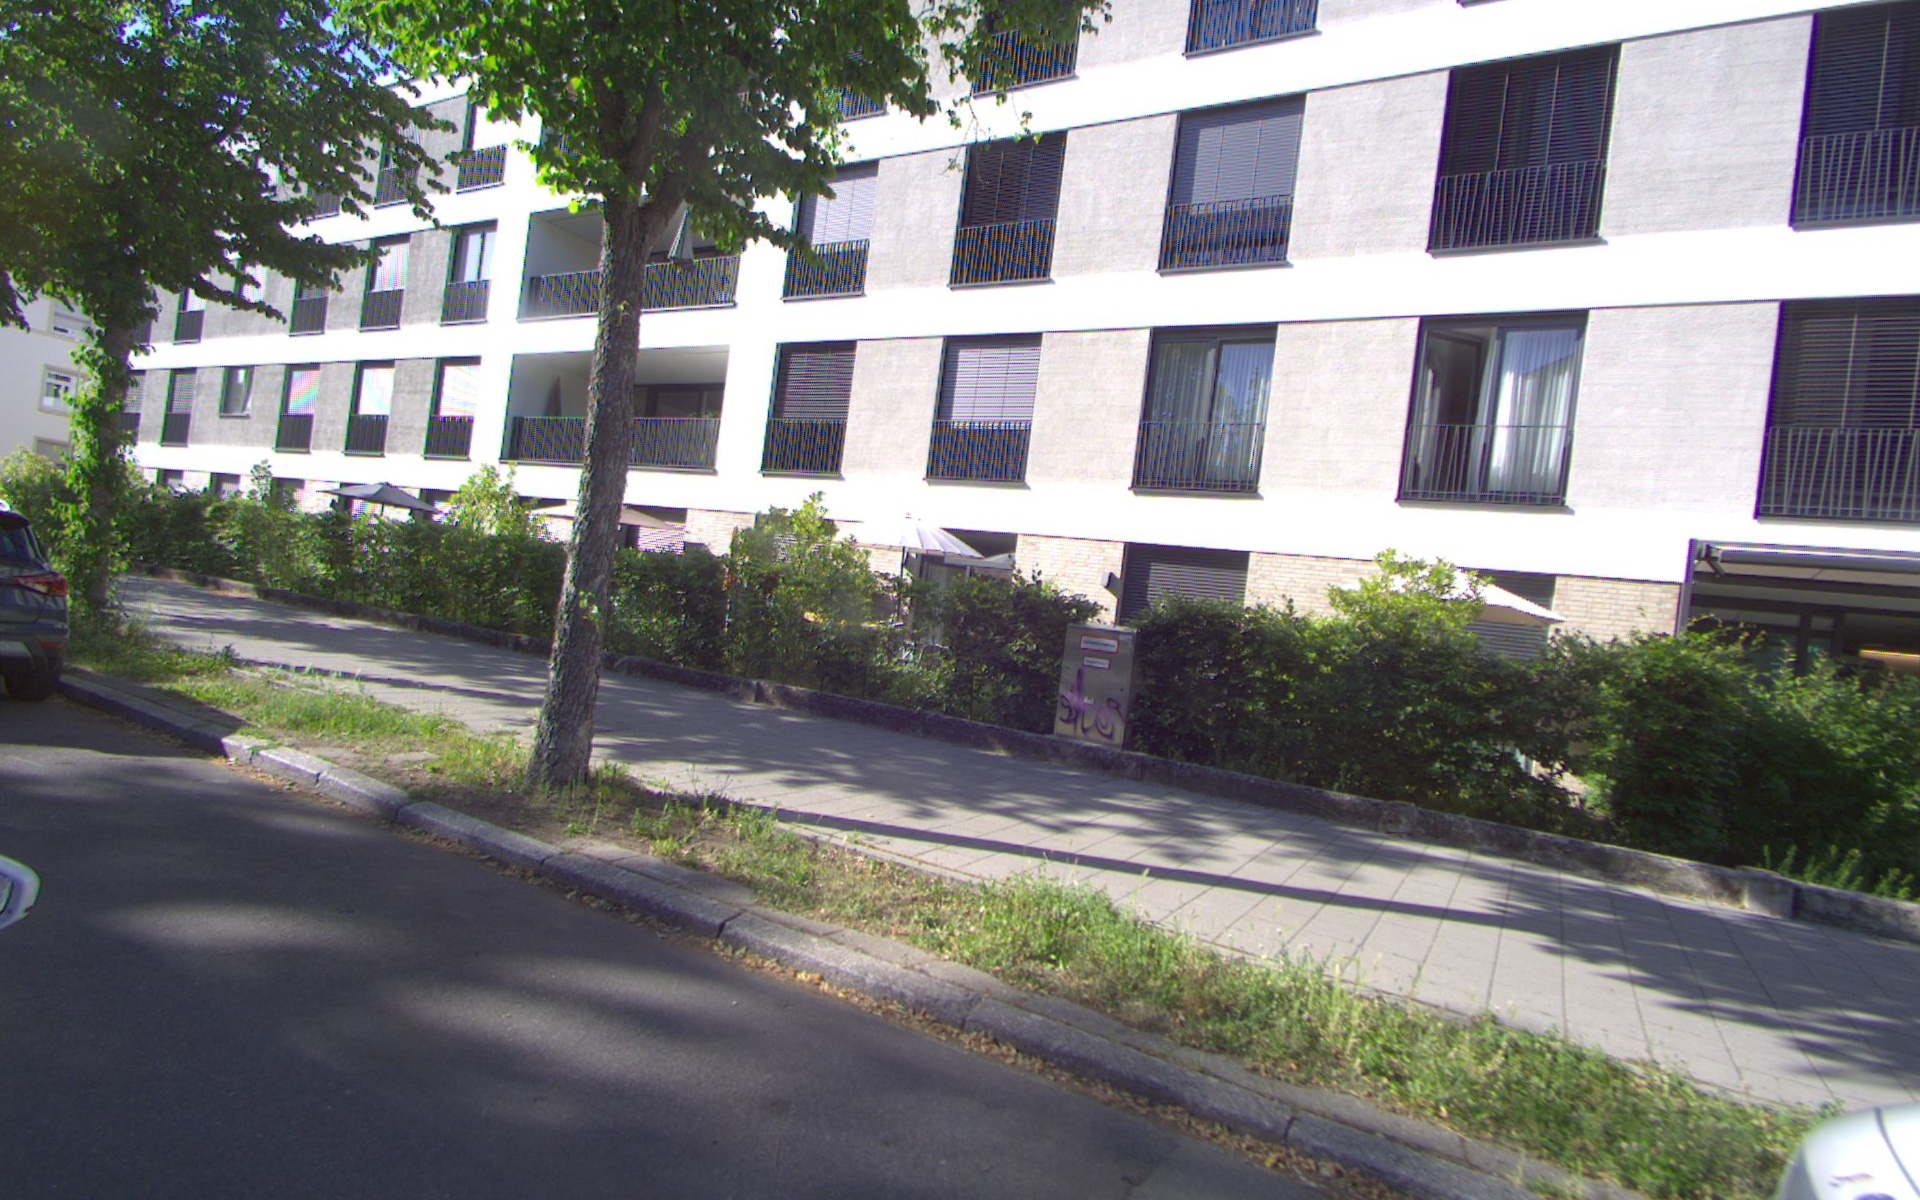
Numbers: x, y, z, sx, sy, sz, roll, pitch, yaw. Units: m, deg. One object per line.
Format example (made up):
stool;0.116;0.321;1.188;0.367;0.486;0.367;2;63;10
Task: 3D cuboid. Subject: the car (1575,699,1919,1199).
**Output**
car;3.244;1.179;0.668;4.605;1.536;1.786;7;-1;27

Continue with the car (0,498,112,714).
car;-8.780;-0.195;8.036;4.272;1.534;1.721;7;-1;32
